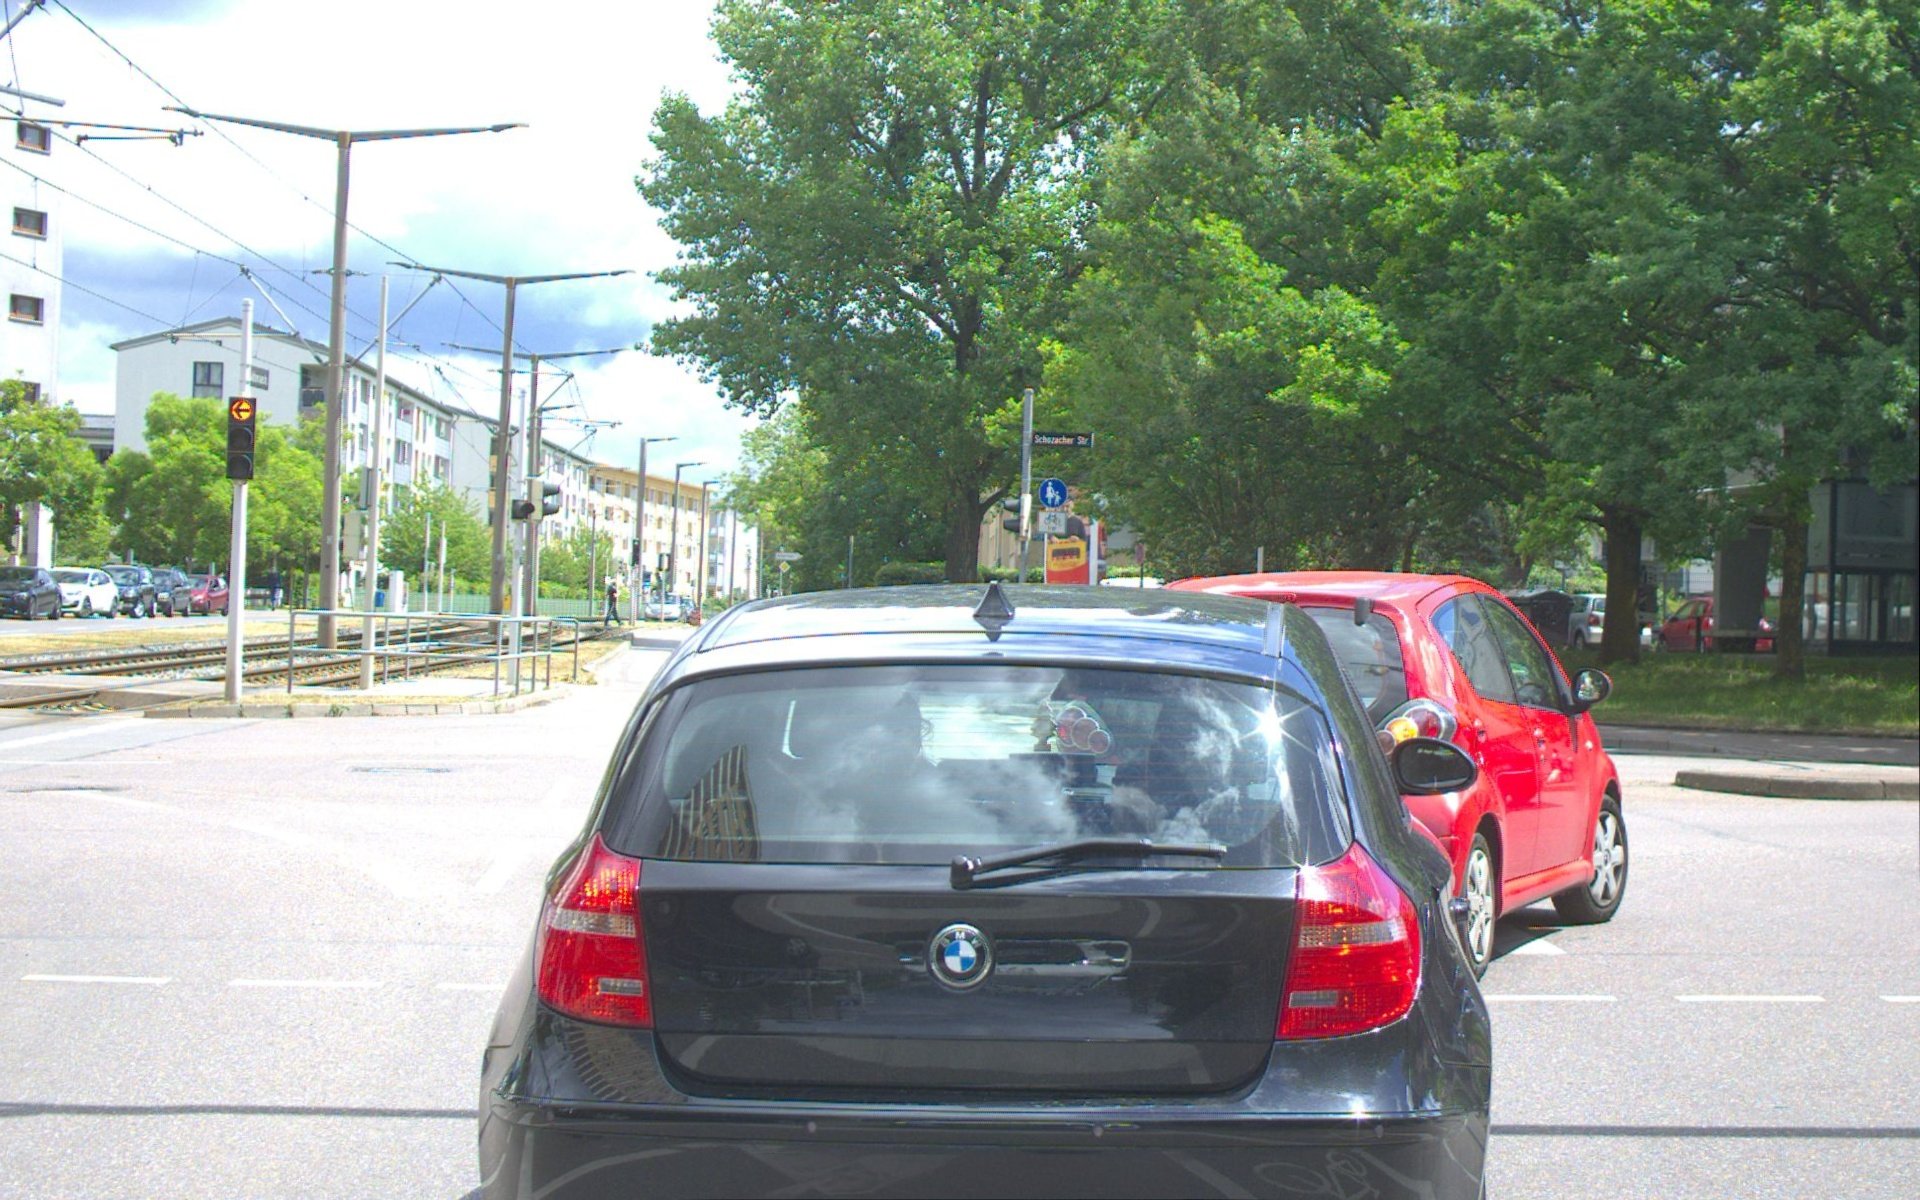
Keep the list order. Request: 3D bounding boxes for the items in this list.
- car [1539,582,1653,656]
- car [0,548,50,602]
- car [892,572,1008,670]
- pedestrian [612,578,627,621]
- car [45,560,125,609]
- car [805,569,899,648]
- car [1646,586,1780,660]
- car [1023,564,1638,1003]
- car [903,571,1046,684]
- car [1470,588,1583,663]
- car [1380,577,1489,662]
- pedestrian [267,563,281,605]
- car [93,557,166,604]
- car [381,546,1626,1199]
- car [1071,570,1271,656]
[{"bbox_3d":[14.574,0.407,78.975,1.630,1.589,4.001,1,1,-3],"label":"car"},{"bbox_3d":[-25.945,-0.697,93.499,1.760,1.390,4.001,1,1,-7],"label":"car"},{"bbox_3d":[-0.186,0.377,61.682,1.993,1.678,4.000,1,0,0],"label":"car"},{"bbox_3d":[-13.064,-0.033,131.887,0.478,1.631,0.454,1,1,-1],"label":"pedestrian"},{"bbox_3d":[-25.705,-0.468,101.045,1.760,1.390,4.001,1,1,-7],"label":"car"},{"bbox_3d":[-2.391,0.173,77.055,1.993,1.678,4.000,1,1,0],"label":"car"},{"bbox_3d":[17.345,0.511,79.385,1.730,1.589,4.001,1,1,-8],"label":"car"},{"bbox_3d":[1.539,0.598,13.284,1.543,1.436,3.192,2,1,22],"label":"car"},{"bbox_3d":[0.210,0.425,54.233,2.152,1.678,4.000,1,0,0],"label":"car"},{"bbox_3d":[12.753,0.561,77.613,1.630,1.567,4.033,1,1,-3],"label":"car"},{"bbox_3d":[10.569,0.411,76.805,1.630,1.804,4.033,1,1,-3],"label":"car"},{"bbox_3d":[-26.946,-0.631,135.009,0.452,1.631,0.480,1,1,-3],"label":"pedestrian"},{"bbox_3d":[-25.975,-0.624,107.611,1.760,1.390,4.001,1,1,-7],"label":"car"},{"bbox_3d":[0.040,0.655,6.895,1.752,1.482,4.000,1,1,0],"label":"car"},{"bbox_3d":[4.642,0.289,75.739,3.986,1.817,1.779,1,1,-22],"label":"car"}]
